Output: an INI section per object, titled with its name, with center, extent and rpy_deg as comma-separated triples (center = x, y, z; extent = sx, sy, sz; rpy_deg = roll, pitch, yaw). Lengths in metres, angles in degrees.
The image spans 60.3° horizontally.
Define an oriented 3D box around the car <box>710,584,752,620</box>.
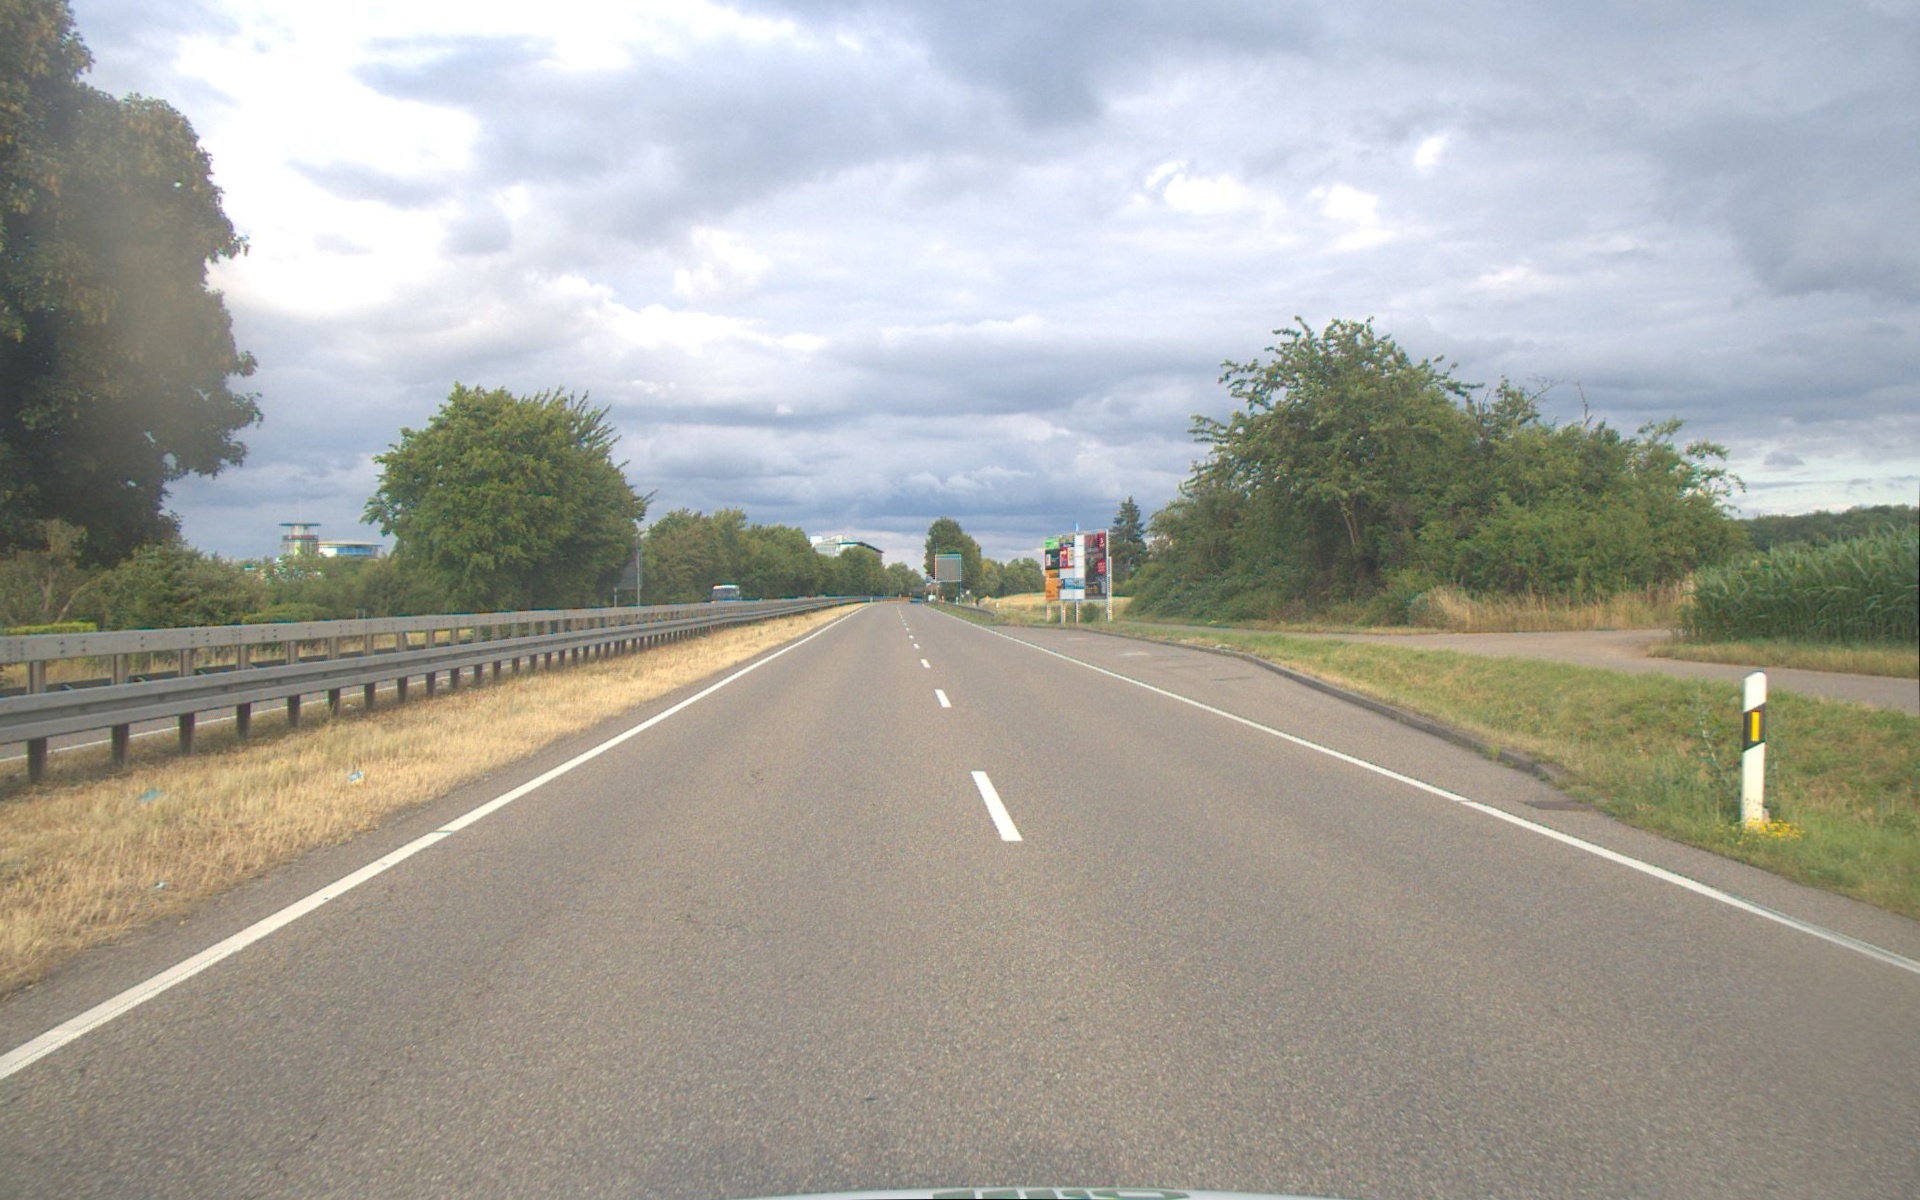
[car]
center = -14.491, 0.134, 105.066
extent = 1.953, 2.178, 5.317
rpy_deg = -2, 0, -1
